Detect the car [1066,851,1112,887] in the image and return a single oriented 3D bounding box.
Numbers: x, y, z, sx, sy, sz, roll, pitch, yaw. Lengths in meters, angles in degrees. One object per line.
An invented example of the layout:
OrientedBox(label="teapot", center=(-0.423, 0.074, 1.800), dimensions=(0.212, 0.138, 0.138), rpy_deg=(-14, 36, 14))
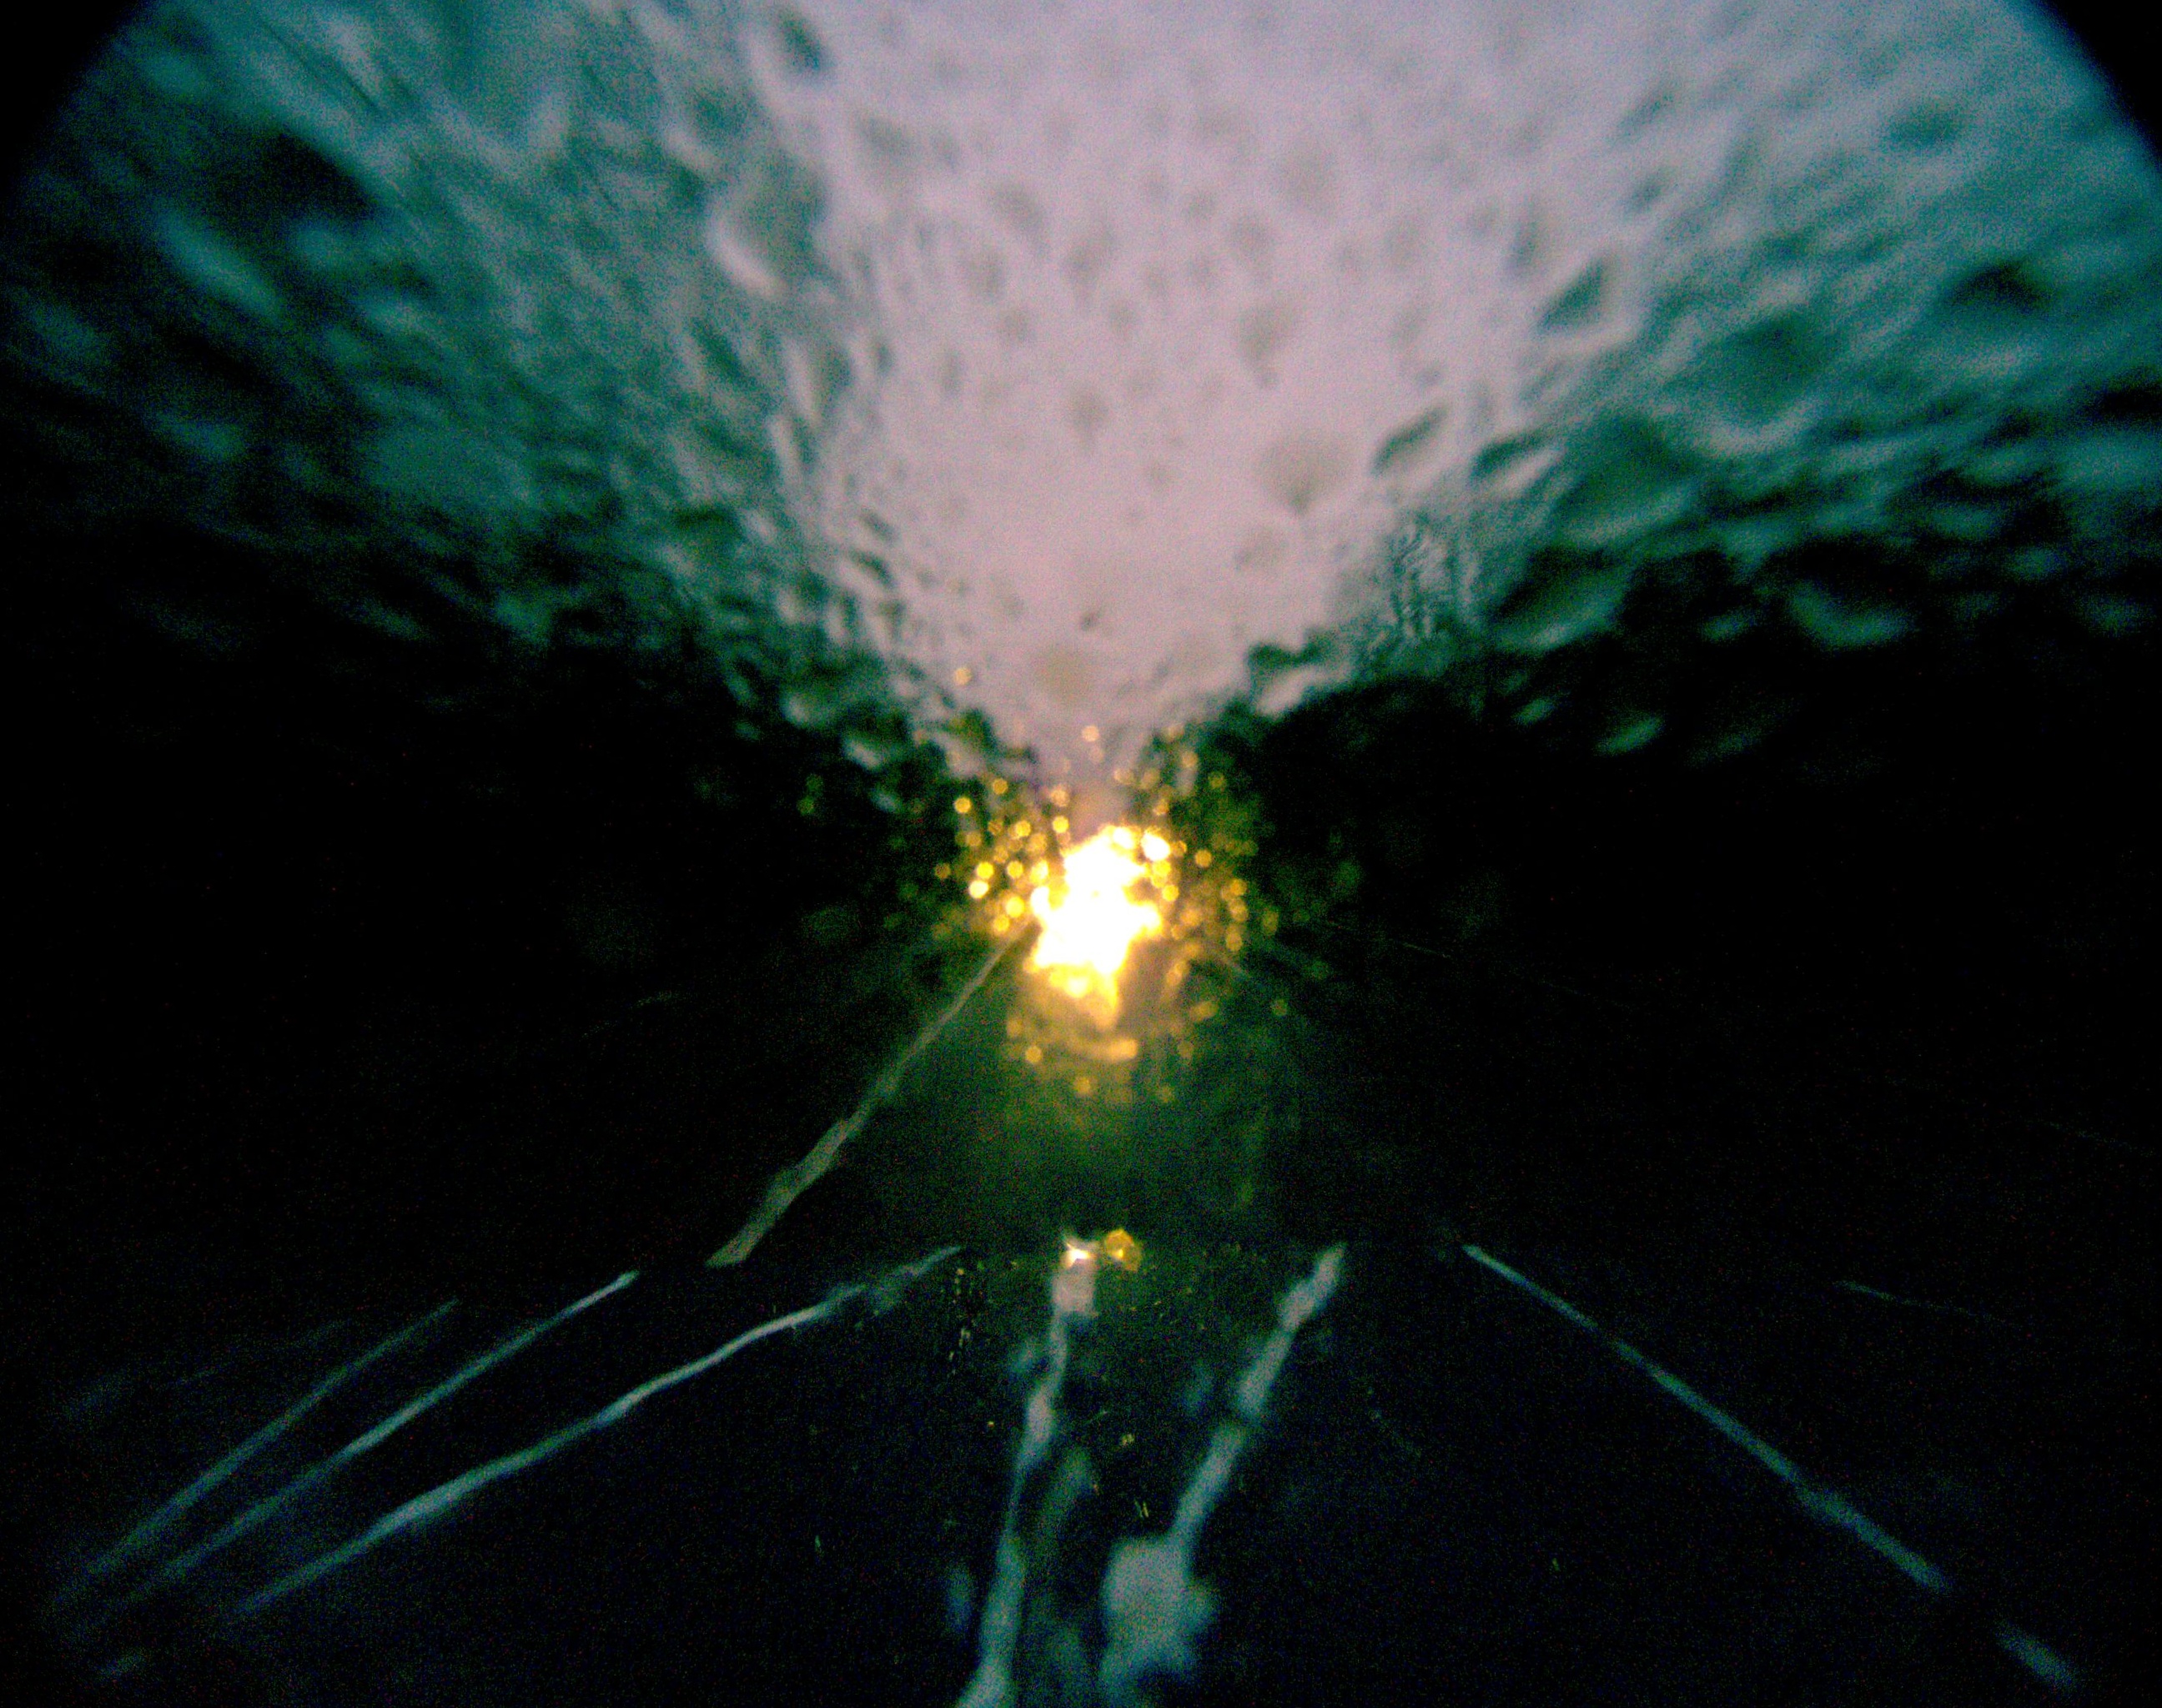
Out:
OrientedBox(label="car", center=(0.383, 0.608, 32.732), dimensions=(1.845, 1.390, 4.000), rpy_deg=(-1, 1, 1))

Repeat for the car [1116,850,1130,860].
OrientedBox(label="car", center=(5.756, 0.095, 105.055), dimensions=(1.623, 1.381, 4.071), rpy_deg=(-1, 0, 0))

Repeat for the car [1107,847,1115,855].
OrientedBox(label="car", center=(6.553, -0.663, 165.259), dimensions=(1.710, 1.812, 4.285), rpy_deg=(-1, 1, 1))
